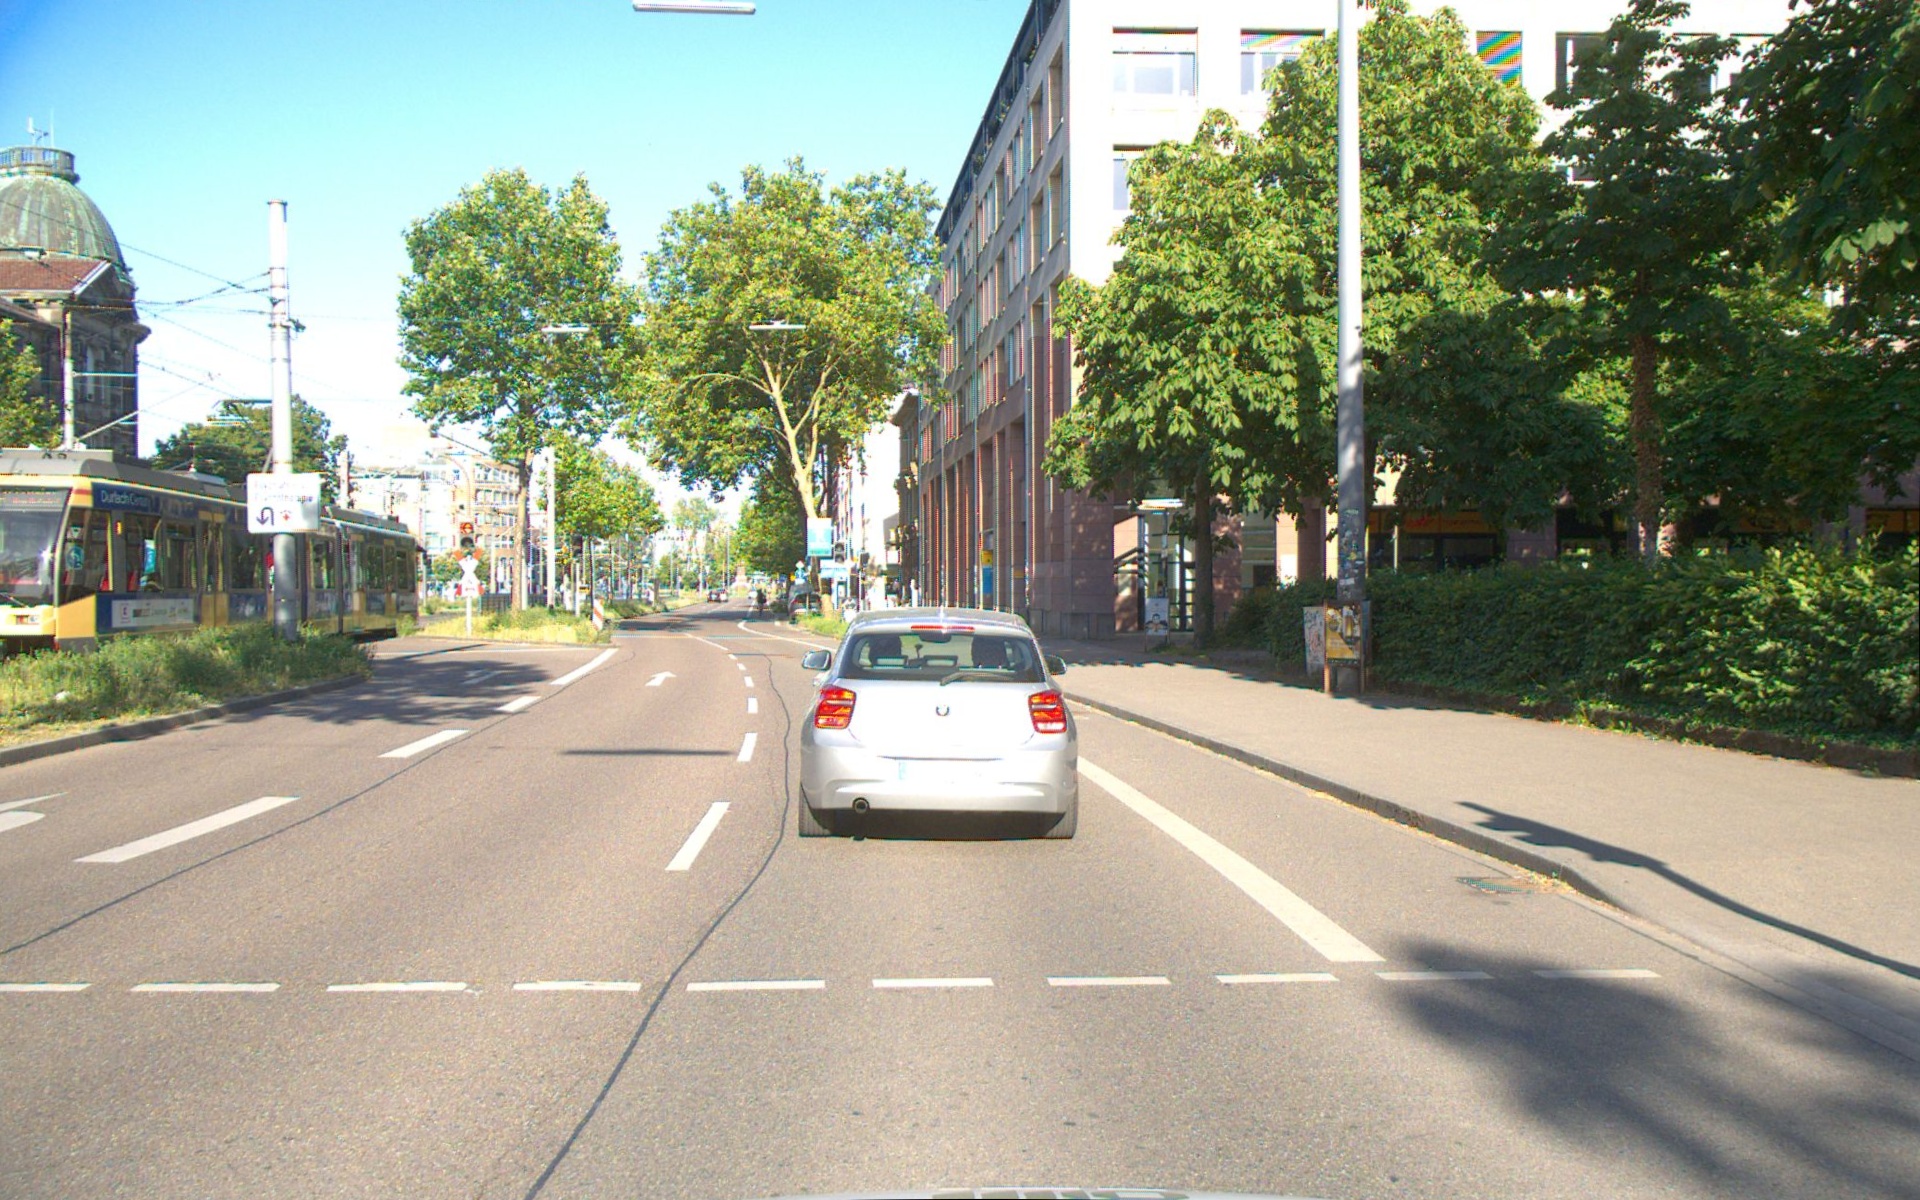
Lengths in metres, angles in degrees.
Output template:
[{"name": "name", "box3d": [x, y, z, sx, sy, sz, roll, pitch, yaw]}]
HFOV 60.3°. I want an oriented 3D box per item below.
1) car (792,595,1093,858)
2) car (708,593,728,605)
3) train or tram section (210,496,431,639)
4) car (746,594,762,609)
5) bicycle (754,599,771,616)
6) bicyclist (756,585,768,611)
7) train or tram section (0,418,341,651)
[{"name": "car", "box3d": [-0.071, 0.719, 11.413, 1.694, 1.414, 3.840, 1, 1, 1]}, {"name": "car", "box3d": [-30.403, -0.134, 208.099, 1.953, 1.512, 4.000, 0, 0, 0]}, {"name": "train or tram section", "box3d": [-17.291, -0.699, 45.897, 2.860, 3.317, 13.085, 2, -1, -9]}, {"name": "car", "box3d": [-31.312, 0.219, 251.282, 1.953, 2.049, 3.998, 2, -1, -2]}, {"name": "bicycle", "box3d": [-12.828, 0.457, 107.354, 0.814, 1.059, 1.875, -1, 0, 3]}, {"name": "bicyclist", "box3d": [-12.864, -0.147, 107.282, 0.644, 1.686, 0.765, -1, 0, 2]}, {"name": "train or tram section", "box3d": [-15.222, -0.867, 31.556, 2.860, 3.317, 15.863, 2, -1, -8]}]
